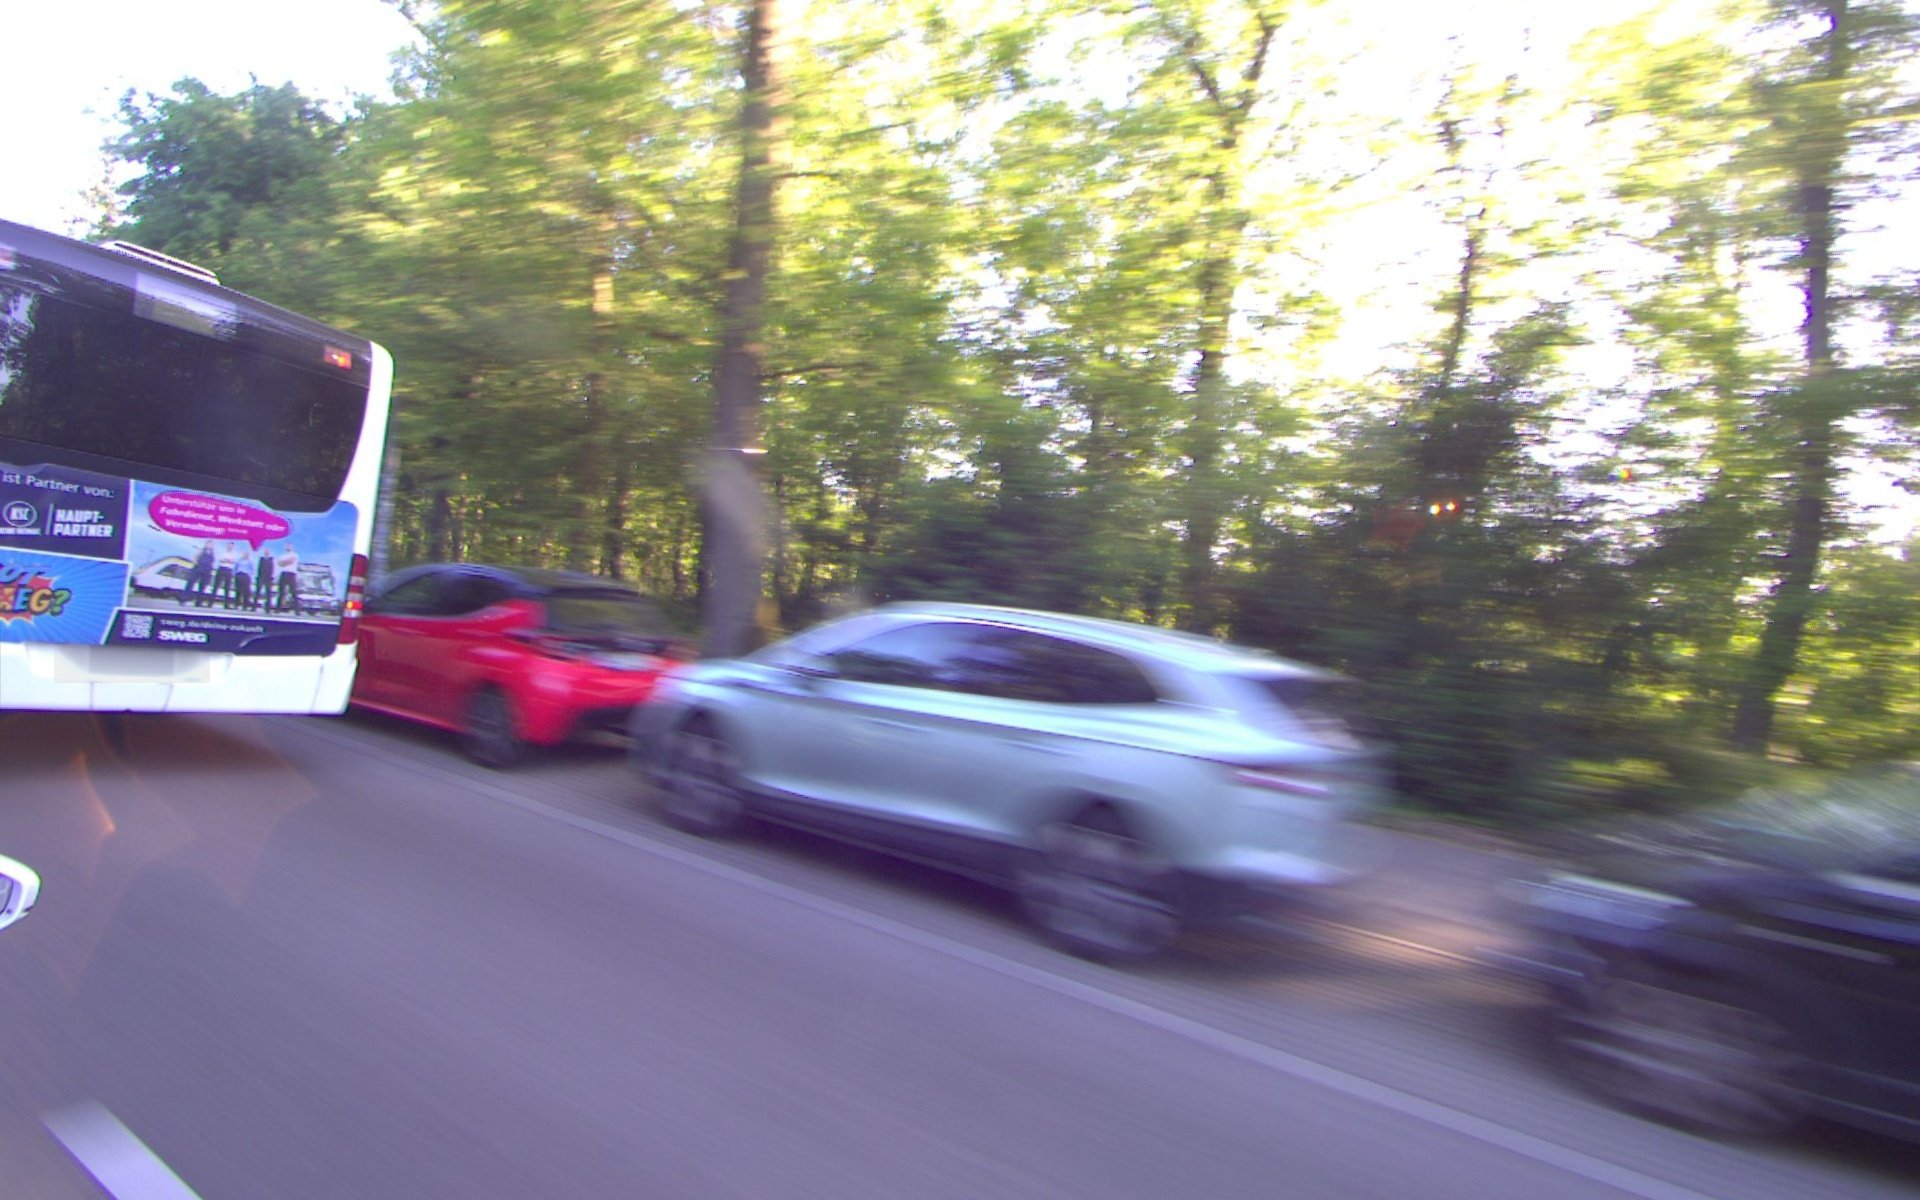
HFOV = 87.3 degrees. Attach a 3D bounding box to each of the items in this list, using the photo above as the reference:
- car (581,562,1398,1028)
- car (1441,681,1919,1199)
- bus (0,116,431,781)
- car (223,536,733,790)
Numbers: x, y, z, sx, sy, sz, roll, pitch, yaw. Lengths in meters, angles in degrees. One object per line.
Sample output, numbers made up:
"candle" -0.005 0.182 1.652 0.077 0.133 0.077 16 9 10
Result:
"car" -0.013 0.804 6.215 4.644 1.606 1.853 7 2 32
"car" 4.072 1.358 3.755 3.845 1.542 1.596 7 2 31
"bus" -9.446 -1.219 8.841 12.079 3.261 2.707 6 -1 33
"car" -4.334 0.396 8.868 4.388 1.476 1.854 7 2 30
